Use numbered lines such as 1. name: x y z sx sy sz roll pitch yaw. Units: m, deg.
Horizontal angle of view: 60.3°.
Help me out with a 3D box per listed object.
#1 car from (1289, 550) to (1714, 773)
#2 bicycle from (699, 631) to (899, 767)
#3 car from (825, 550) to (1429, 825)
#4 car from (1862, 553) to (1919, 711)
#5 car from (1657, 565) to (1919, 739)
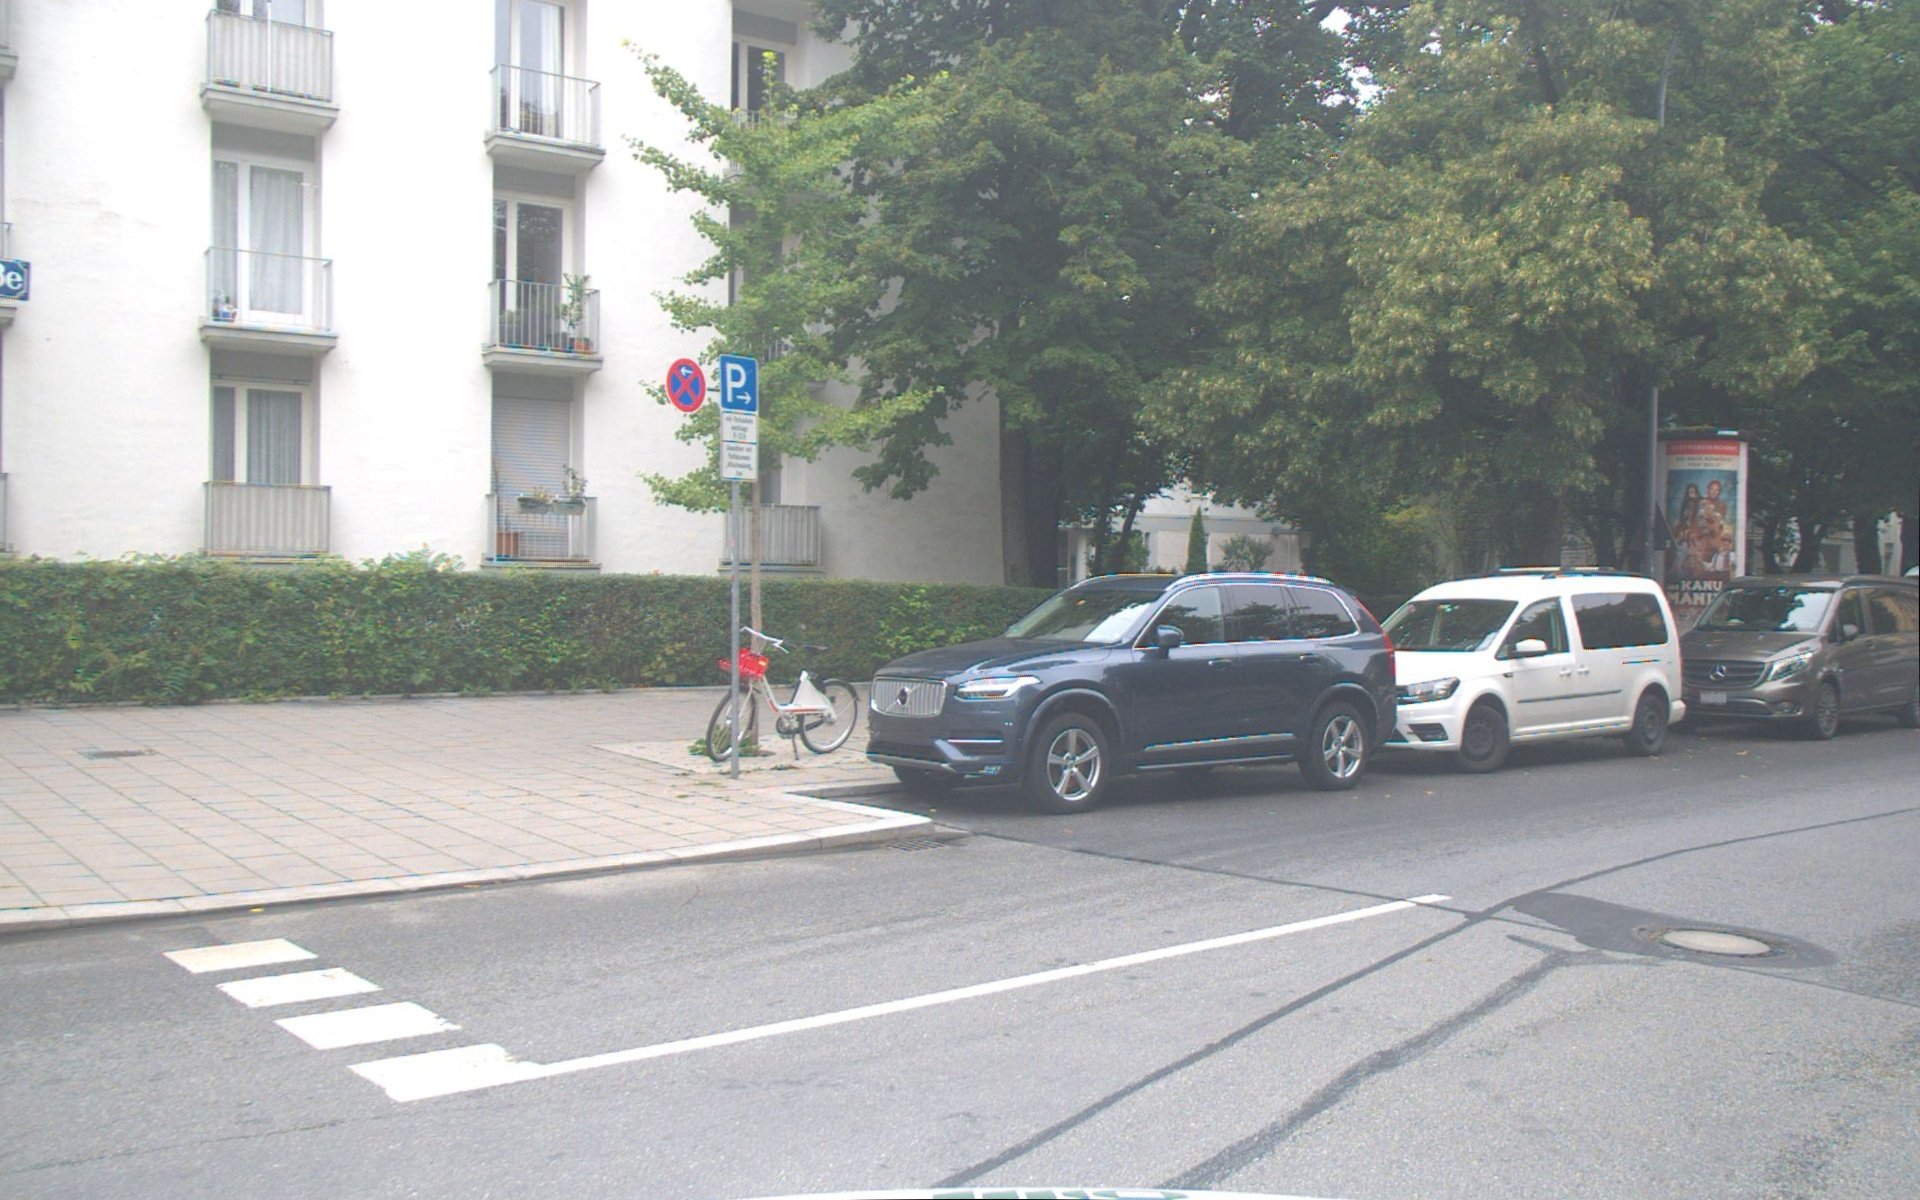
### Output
1. car: 5.565 0.552 16.687 4.801 1.952 1.810 0 0 -39
2. bicycle: -1.358 0.819 14.265 1.816 1.067 0.484 0 1 -45
3. car: 1.476 0.591 13.272 4.863 1.823 1.973 0 0 -38
4. car: 16.075 0.483 25.710 5.195 2.312 1.924 0 0 -41
5. car: 10.939 0.599 21.058 5.164 1.967 1.864 0 0 -43
